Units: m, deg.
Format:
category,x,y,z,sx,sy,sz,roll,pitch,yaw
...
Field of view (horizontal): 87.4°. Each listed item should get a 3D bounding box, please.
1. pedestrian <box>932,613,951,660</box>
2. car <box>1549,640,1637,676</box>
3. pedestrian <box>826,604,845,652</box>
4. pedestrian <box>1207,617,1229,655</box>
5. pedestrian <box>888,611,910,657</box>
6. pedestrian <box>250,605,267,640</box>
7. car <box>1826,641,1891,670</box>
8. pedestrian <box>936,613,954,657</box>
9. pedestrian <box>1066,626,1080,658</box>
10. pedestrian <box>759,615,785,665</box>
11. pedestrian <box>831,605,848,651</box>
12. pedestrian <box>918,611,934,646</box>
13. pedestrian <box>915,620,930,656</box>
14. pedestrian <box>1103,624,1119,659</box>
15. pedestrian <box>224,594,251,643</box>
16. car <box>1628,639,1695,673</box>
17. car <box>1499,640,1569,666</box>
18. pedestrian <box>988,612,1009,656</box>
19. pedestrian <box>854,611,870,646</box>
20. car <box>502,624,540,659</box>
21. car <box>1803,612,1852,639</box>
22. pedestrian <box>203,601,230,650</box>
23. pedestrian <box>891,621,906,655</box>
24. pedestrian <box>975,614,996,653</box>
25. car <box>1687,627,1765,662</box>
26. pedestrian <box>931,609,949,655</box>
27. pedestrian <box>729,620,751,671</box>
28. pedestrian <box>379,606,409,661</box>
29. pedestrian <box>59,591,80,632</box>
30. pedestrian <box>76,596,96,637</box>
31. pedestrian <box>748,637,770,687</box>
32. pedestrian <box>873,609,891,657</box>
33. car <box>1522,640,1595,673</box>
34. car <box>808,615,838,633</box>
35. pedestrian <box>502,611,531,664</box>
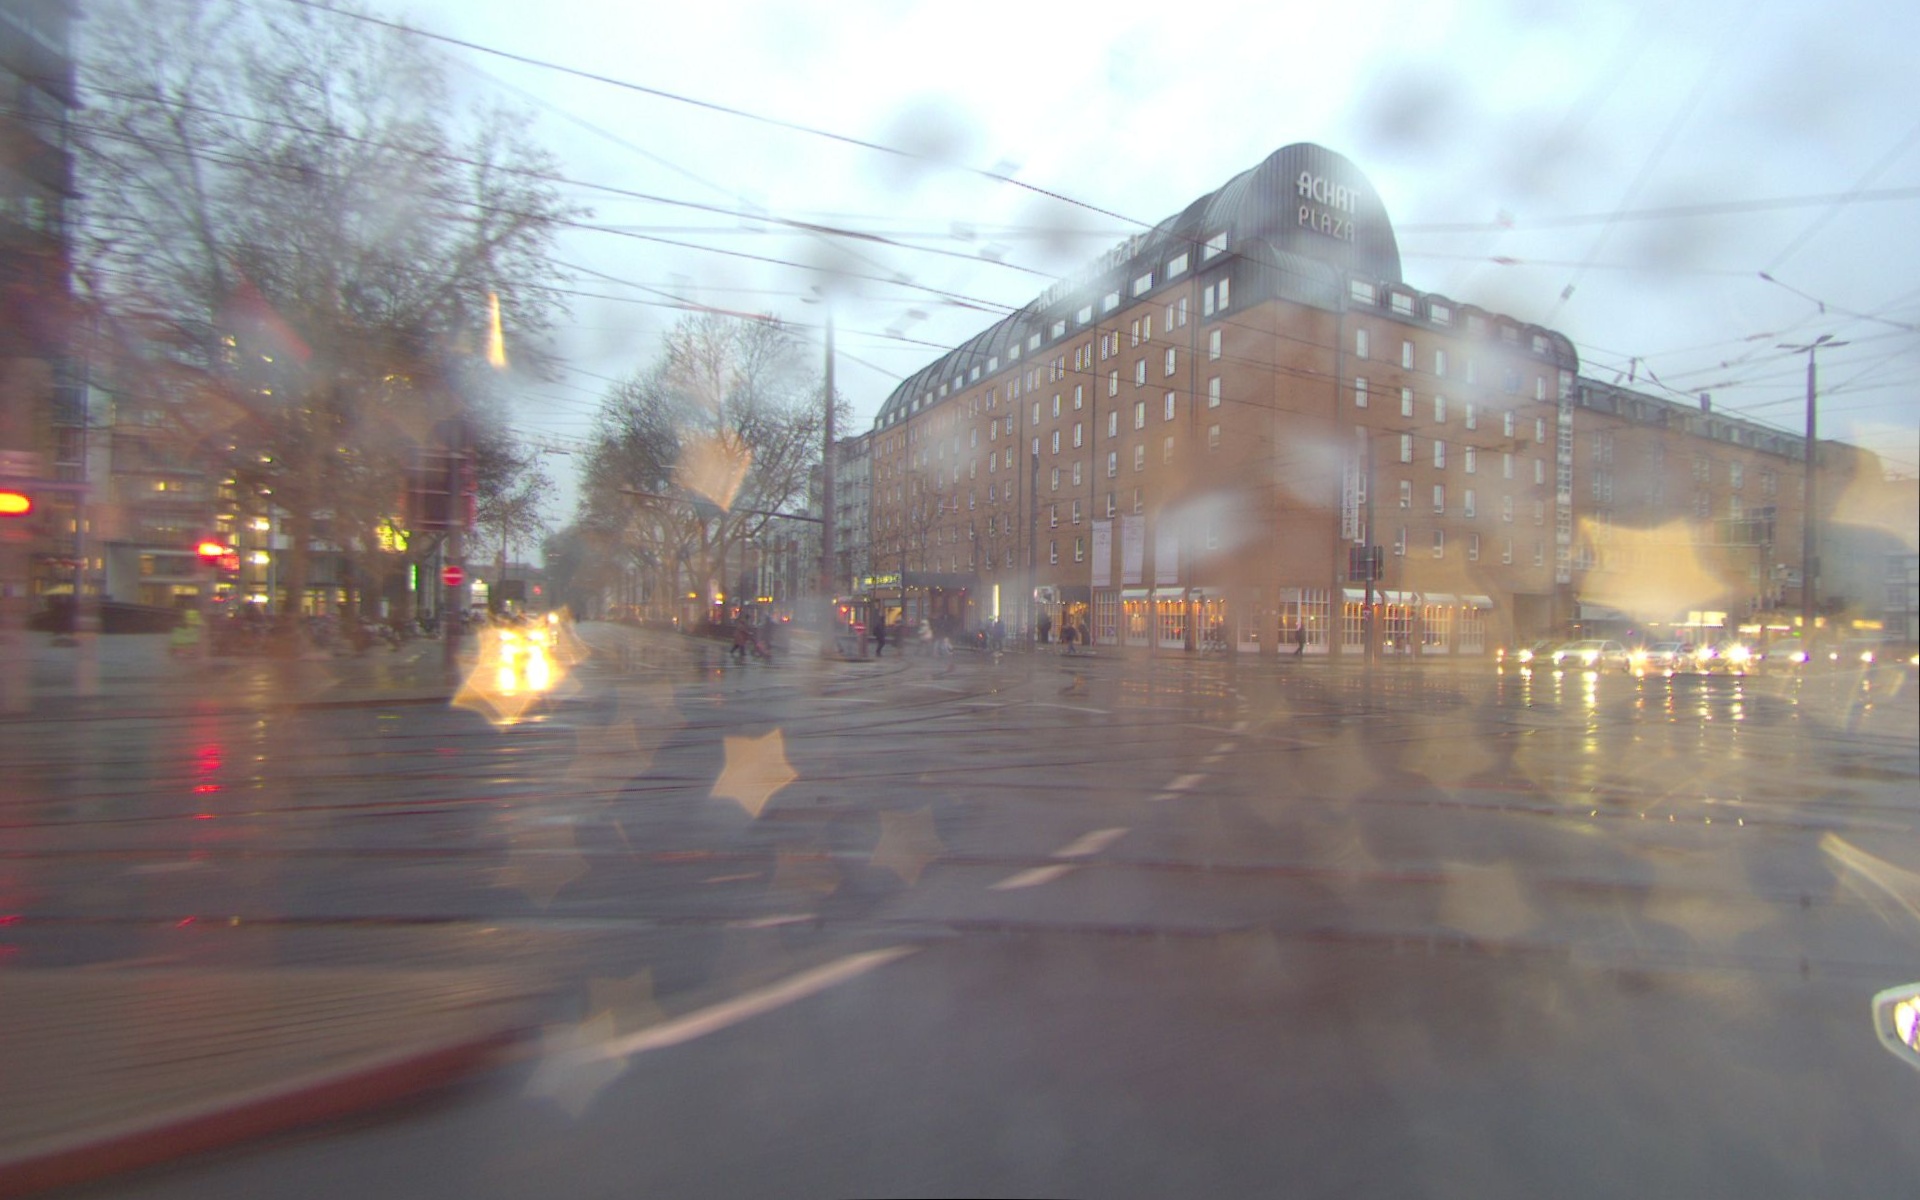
category,x,y,z,sx,sy,sz,roll,pitch,yaw
pedestrian,-0.821,1.597,44.417,0.745,2.040,0.800,1,-1,-6
car,28.525,2.577,45.225,4.153,1.515,1.660,2,-1,-31
pedestrian,-5.375,1.210,43.438,0.745,2.040,0.707,1,-1,-6
pedestrian,14.059,1.959,54.703,0.920,2.040,0.757,1,-1,35
pedestrian,-2.752,1.520,45.464,0.698,2.040,0.754,2,-1,-27
pedestrian,-35.095,1.131,50.273,0.554,1.706,0.594,1,-1,-26
car,47.395,2.924,52.955,3.508,1.372,1.672,2,0,-33
pedestrian,-0.709,1.657,47.718,0.745,2.040,0.707,1,-1,-6
pedestrian,5.718,2.127,50.975,0.565,1.558,0.518,1,-1,-13
pedestrian,-7.959,1.685,42.497,0.763,2.040,0.707,1,-1,27
pedestrian,-5.304,1.241,44.215,0.655,1.984,0.529,1,-1,-9
pedestrian,-2.036,1.717,60.620,0.710,2.040,0.742,2,-1,-24
pedestrian,-1.657,1.694,44.923,0.565,1.558,0.518,1,-1,-13
pedestrian,6.824,1.874,45.502,0.565,1.558,0.518,1,-1,-13
pedestrian,-25.494,0.645,35.464,0.552,1.706,0.595,0,-1,36
car,38.718,3.066,55.402,3.814,1.732,1.674,2,-1,-32
car,31.950,2.955,55.903,4.181,1.339,1.603,2,-1,-32
pedestrian,1.821,1.607,47.158,0.748,2.040,0.704,2,-1,-21
pedestrian,-5.855,1.672,59.729,0.710,2.040,0.742,2,-1,-24
car,-28.668,2.704,65.544,1.898,2.165,4.045,2,-1,-29
car,71.779,2.118,83.134,3.956,2.040,1.982,2,0,-32
pedestrian,-26.247,0.890,35.475,0.552,1.706,0.596,0,-1,35
pedestrian,-2.835,1.744,46.259,0.565,1.558,0.518,1,-1,-13
pedestrian,1.288,1.681,50.560,0.775,1.925,0.834,2,-1,-24
car,40.579,2.354,53.174,4.654,1.732,1.819,2,-1,-32
pedestrian,-0.909,1.463,45.899,0.745,2.040,0.707,1,-1,-6
pedestrian,-8.919,1.858,40.776,0.747,2.040,0.704,2,-1,-19
pedestrian,-21.042,1.237,37.346,0.698,2.040,0.754,0,-1,45
pedestrian,-38.484,0.494,43.429,0.439,1.774,0.651,1,-1,-21
pedestrian,-38.046,0.703,43.721,0.439,1.774,0.651,1,-1,-21
pedestrian,-8.210,2.524,40.996,0.747,2.040,0.704,2,-1,-19
pedestrian,-3.375,1.409,43.451,0.745,2.040,0.707,1,-1,-6
car,29.205,2.735,49.000,3.554,1.515,1.574,2,-1,-31
car,-14.094,2.475,102.992,2.078,1.806,3.684,2,-1,-23
pedestrian,-17.091,1.445,38.715,0.698,2.040,0.754,0,-1,45
